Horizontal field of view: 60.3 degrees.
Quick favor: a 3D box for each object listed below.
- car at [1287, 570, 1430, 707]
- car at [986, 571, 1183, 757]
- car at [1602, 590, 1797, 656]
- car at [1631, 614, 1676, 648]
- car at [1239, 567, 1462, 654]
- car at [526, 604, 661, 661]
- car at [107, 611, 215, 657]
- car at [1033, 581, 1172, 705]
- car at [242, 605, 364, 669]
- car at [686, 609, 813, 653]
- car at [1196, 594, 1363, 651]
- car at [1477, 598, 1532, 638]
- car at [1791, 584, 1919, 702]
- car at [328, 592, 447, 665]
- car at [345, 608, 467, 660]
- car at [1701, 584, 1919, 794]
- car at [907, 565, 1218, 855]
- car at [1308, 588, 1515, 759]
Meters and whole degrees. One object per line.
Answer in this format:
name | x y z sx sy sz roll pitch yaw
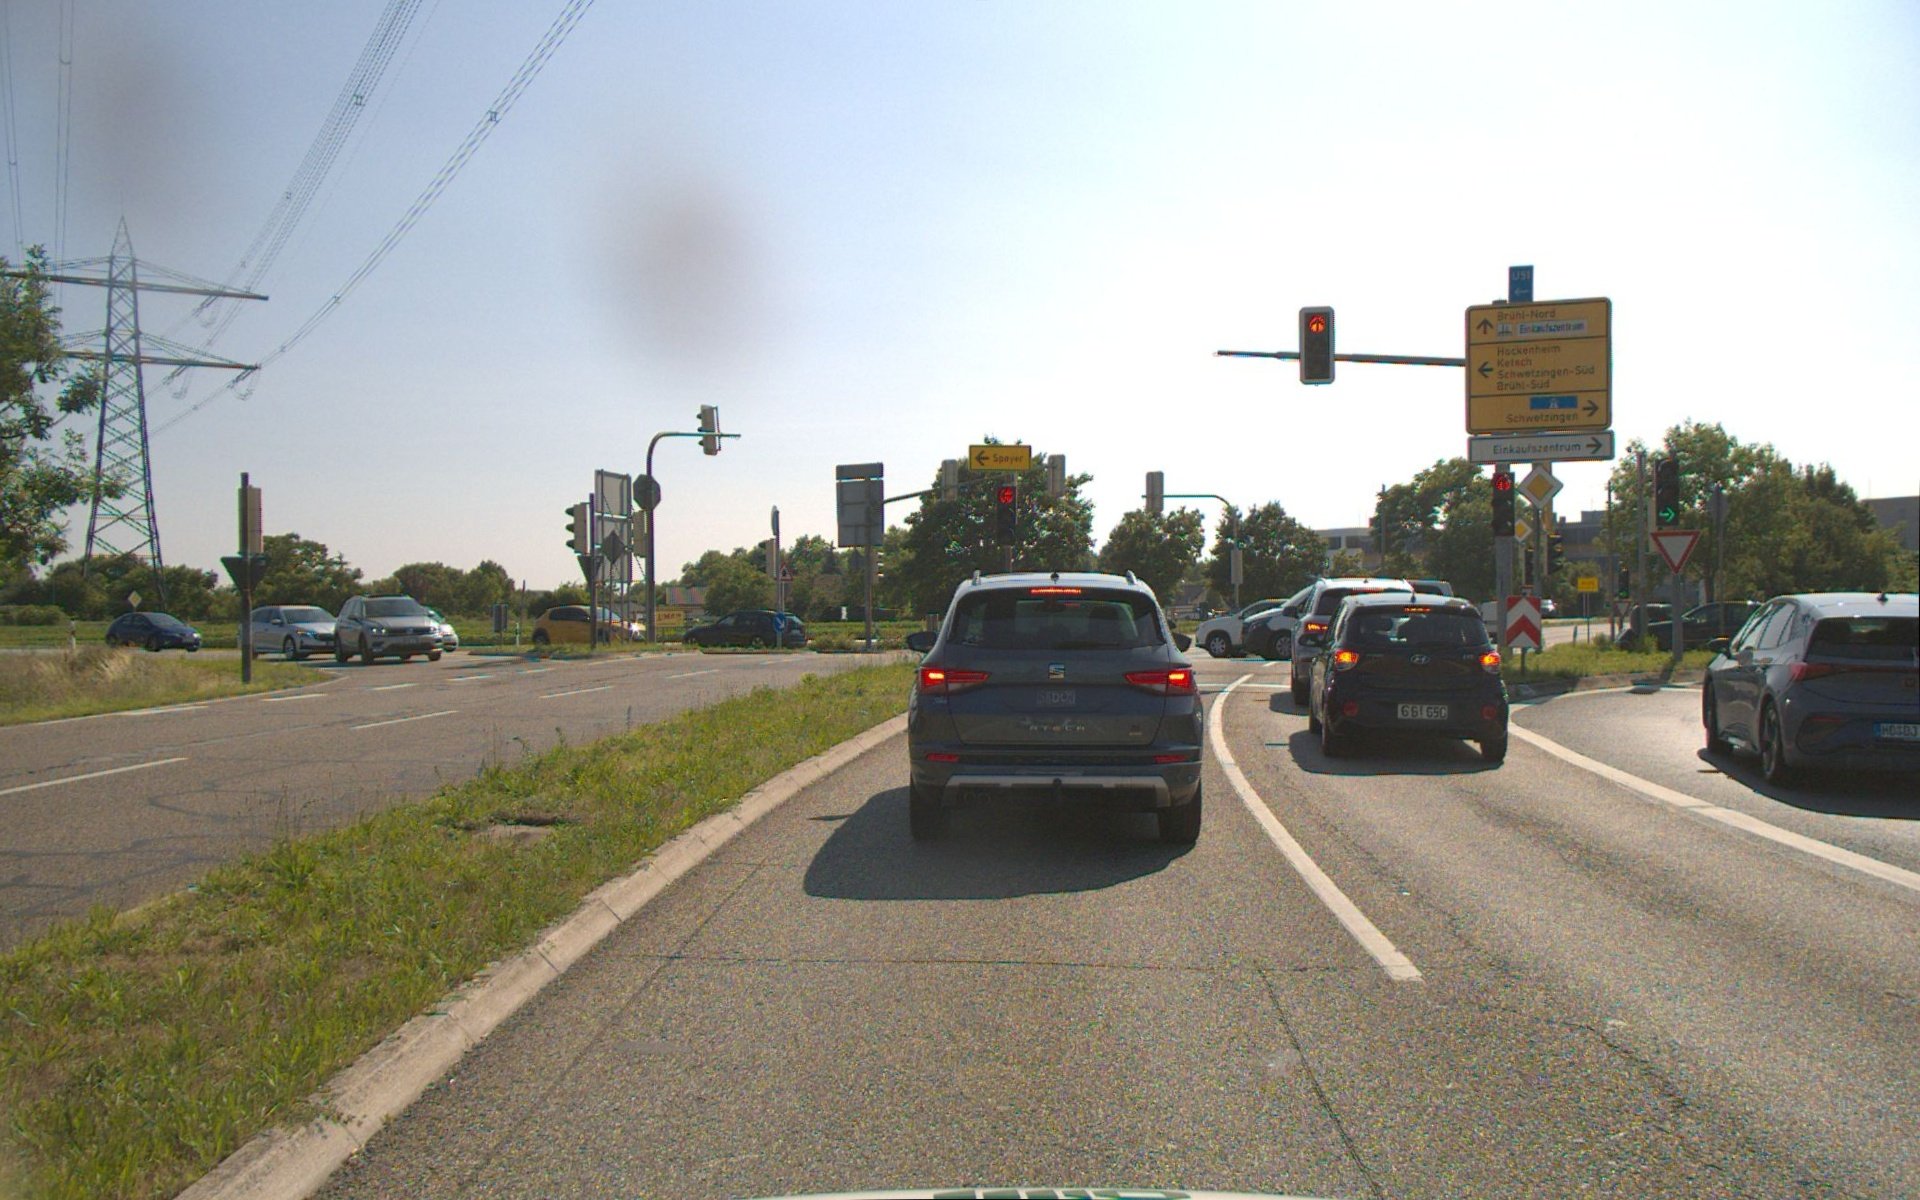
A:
car | 5.397 0.488 22.758 1.598 1.706 3.753 1 0 9
car | 1.192 0.566 16.373 1.705 1.596 3.625 1 0 3
car | 18.098 0.560 40.488 4.238 1.545 1.805 -1 0 28
car | 36.005 1.603 85.836 1.841 1.702 3.765 1 0 27
car | 9.225 0.226 39.338 4.831 1.951 2.000 1 1 0
car | -11.391 0.997 51.305 3.913 1.680 1.817 -1 0 30
car | -30.319 1.279 62.727 3.913 1.680 1.817 -1 0 30
car | 2.010 0.541 22.549 1.705 1.510 3.627 1 0 7
car | -18.209 0.995 45.765 1.806 1.680 3.935 0 0 -44
car | -7.083 1.025 55.499 4.013 1.441 1.714 0 0 29
car | 8.907 0.616 46.208 4.238 1.545 1.805 -1 0 28
car | 25.809 0.851 78.343 1.684 1.850 3.769 1 0 31
car | 12.752 0.509 22.257 3.970 1.410 1.620 -2 1 -45
car | -14.087 0.680 40.584 1.799 1.680 3.952 0 0 -34
car | -18.740 1.145 55.957 3.913 1.680 1.817 -1 0 30
car | 7.753 0.654 14.396 1.735 1.544 4.103 1 1 15
car | 0.631 0.606 10.943 1.706 1.596 3.625 0 0 2
car | 4.327 0.637 16.247 1.598 1.473 3.298 1 0 9
